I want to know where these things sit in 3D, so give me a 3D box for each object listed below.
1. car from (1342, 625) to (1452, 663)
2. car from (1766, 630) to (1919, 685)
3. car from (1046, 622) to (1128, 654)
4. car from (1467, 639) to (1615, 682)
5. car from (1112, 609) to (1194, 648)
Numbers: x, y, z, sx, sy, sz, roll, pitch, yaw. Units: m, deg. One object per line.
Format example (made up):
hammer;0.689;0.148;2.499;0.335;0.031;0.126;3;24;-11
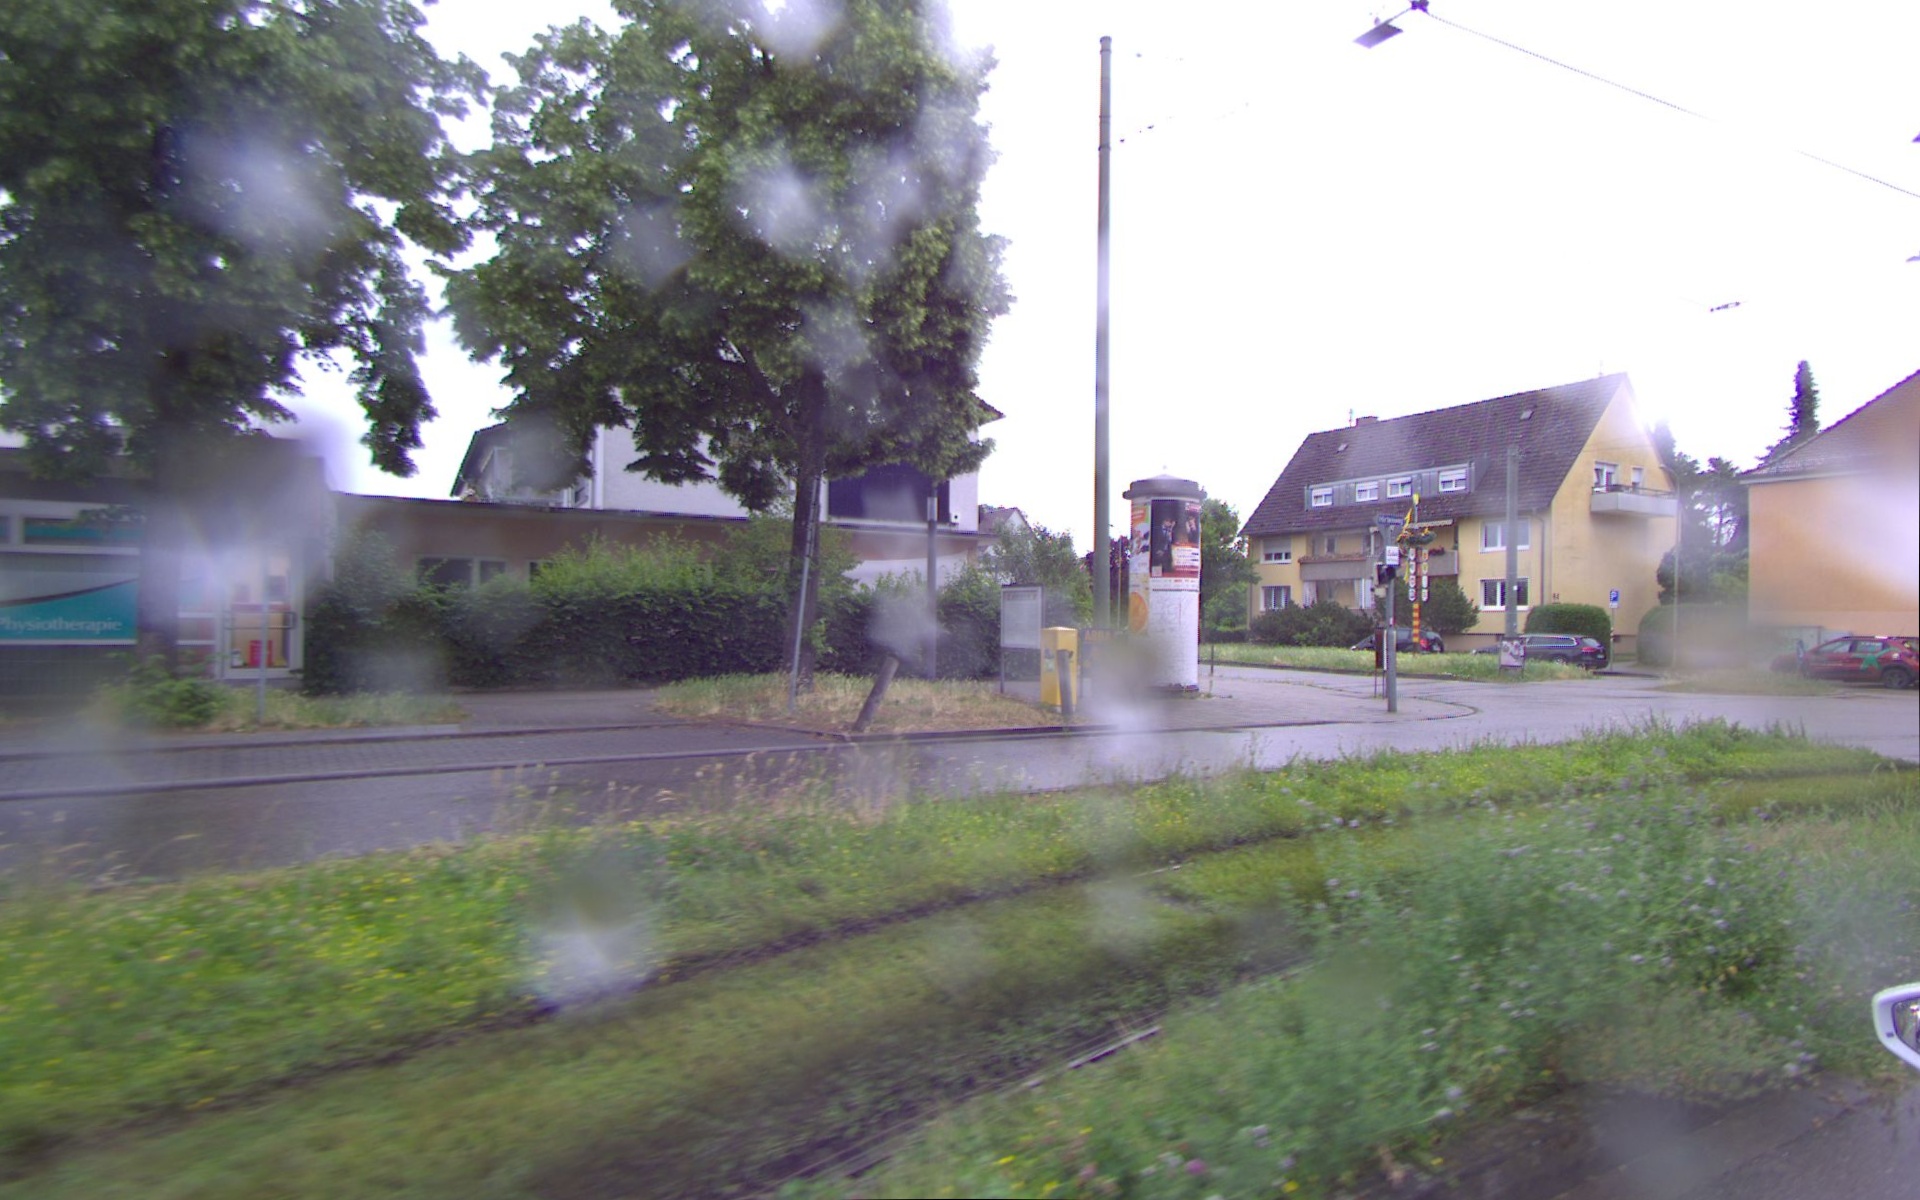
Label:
car;18.447;1.836;42.554;1.741;1.350;3.963;1;1;-33
car;26.787;1.672;30.216;1.704;1.357;3.584;1;1;-33
car;6.167;1.841;49.129;1.978;1.496;3.966;1;-2;-31
car;21.777;2.225;37.815;1.945;1.414;4.466;1;-1;-32
car;10.236;1.479;53.366;1.982;1.818;3.957;1;1;-37
